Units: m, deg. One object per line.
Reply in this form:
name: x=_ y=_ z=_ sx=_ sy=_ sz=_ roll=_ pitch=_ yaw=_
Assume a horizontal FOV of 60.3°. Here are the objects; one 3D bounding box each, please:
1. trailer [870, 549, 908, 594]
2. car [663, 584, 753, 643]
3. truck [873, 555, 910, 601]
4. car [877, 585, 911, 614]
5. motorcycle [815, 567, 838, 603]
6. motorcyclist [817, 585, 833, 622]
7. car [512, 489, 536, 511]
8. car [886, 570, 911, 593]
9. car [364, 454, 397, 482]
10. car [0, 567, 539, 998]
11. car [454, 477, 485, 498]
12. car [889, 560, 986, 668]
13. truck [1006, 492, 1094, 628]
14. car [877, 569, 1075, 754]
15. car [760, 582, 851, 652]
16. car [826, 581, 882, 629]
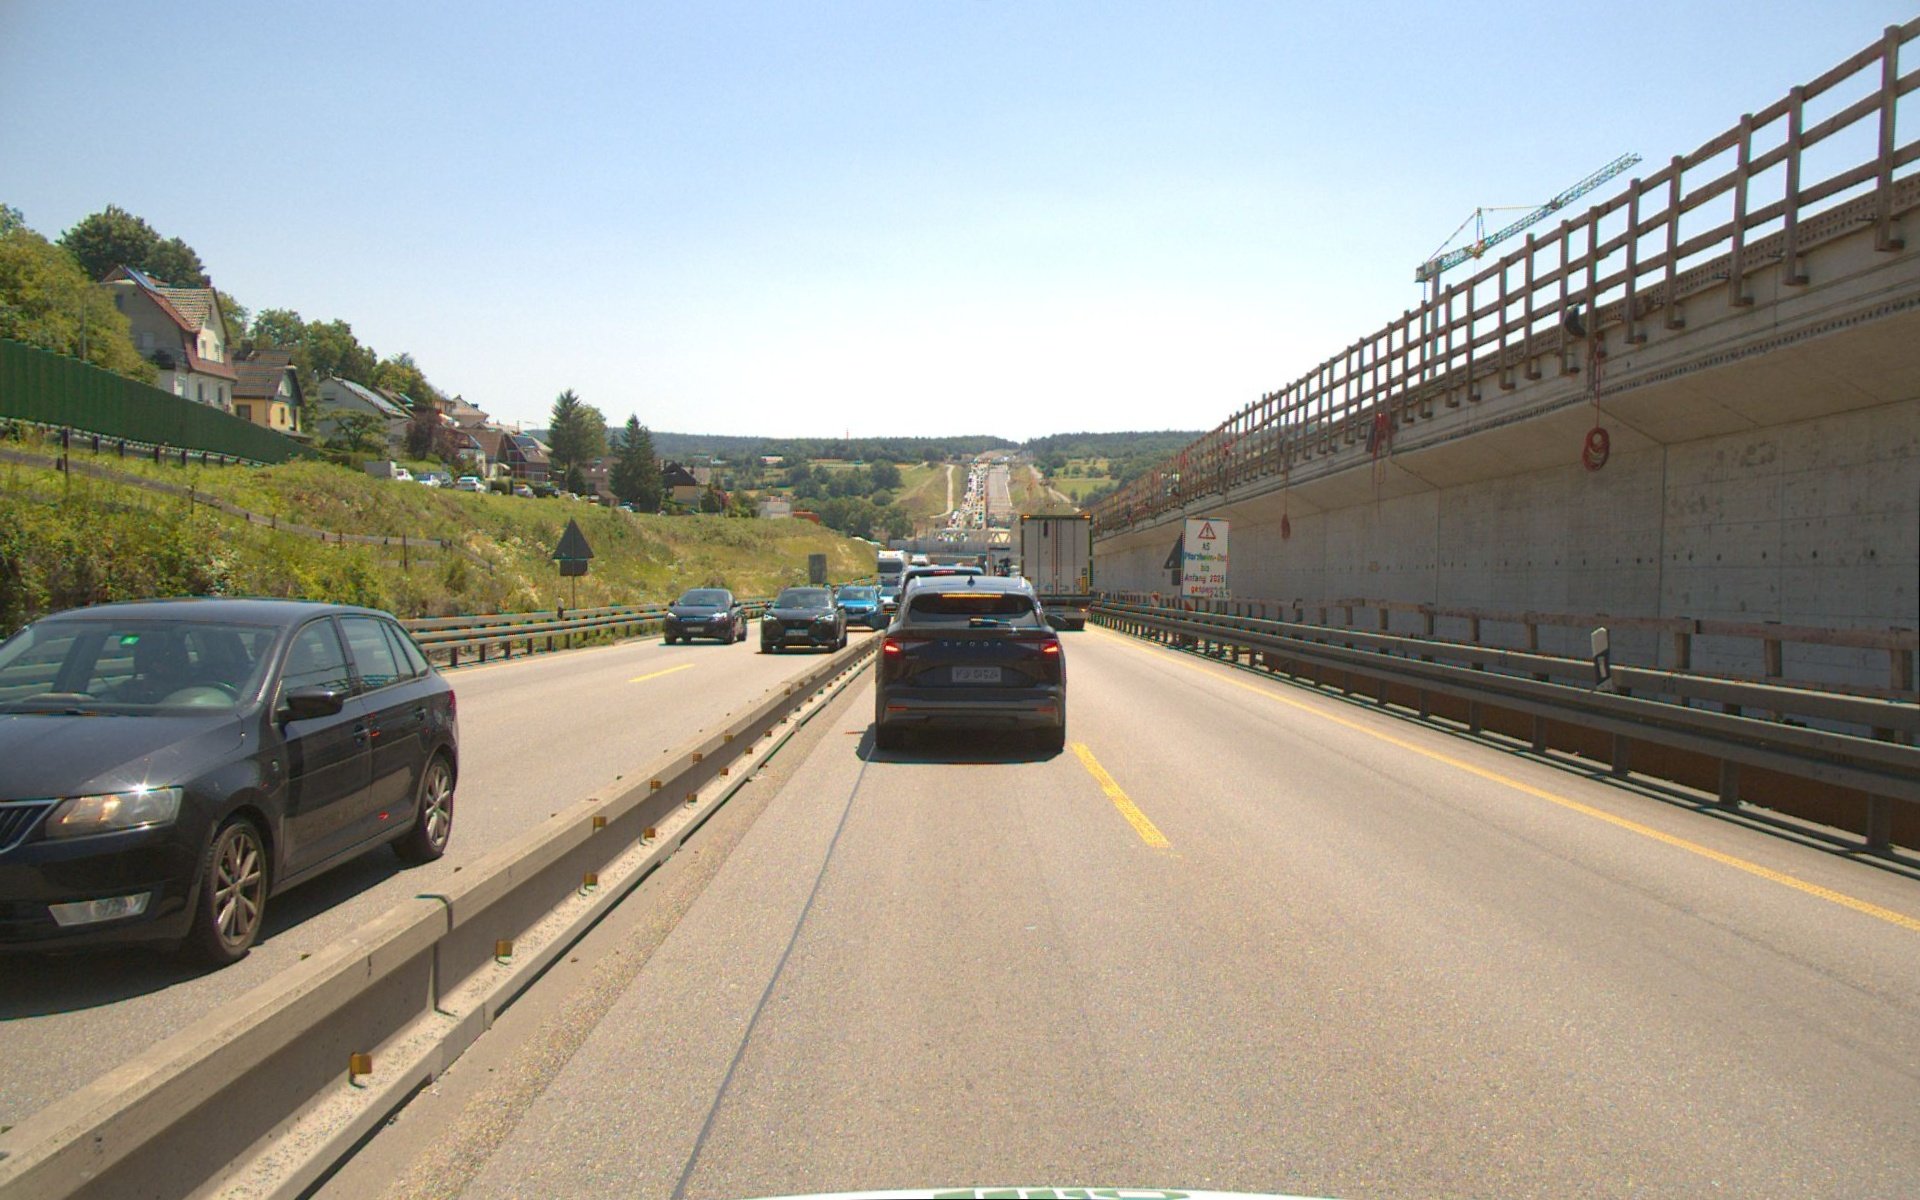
trailer: x=-7.124 y=-2.762 z=164.232 sx=3.158 sy=4.231 sz=13.393 roll=0 pitch=0 yaw=-5
car: x=-6.885 y=0.370 z=45.650 sx=1.777 sy=1.473 sz=5.005 roll=2 pitch=0 yaw=-1
truck: x=-6.580 y=-2.071 z=158.440 sx=3.119 sy=4.312 sz=6.477 roll=0 pitch=0 yaw=-6
car: x=-3.504 y=-0.040 z=88.030 sx=1.730 sy=1.512 sz=3.864 roll=0 pitch=0 yaw=-2
motorcycle: x=-5.924 y=-0.673 z=73.481 sx=0.774 sy=1.578 sz=2.621 roll=1 pitch=1 yaw=0
motorcyclist: x=-5.965 y=0.158 z=73.344 sx=0.652 sy=1.613 sz=0.736 roll=0 pitch=-1 yaw=0
car: x=-40.677 y=-9.306 z=154.317 sx=1.890 sy=1.758 sz=3.990 roll=0 pitch=0 yaw=-10
car: x=-4.199 y=-1.278 z=113.380 sx=1.657 sy=1.512 sz=3.749 roll=0 pitch=0 yaw=-2
car: x=-36.087 y=-8.208 z=103.085 sx=1.700 sy=1.422 sz=3.784 roll=2 pitch=0 yaw=-17
car: x=-3.540 y=0.684 z=8.074 sx=1.573 sy=1.472 sz=4.671 roll=-2 pitch=-1 yaw=2
car: x=-39.896 y=-9.161 z=134.577 sx=1.958 sy=1.342 sz=3.990 roll=4 pitch=0 yaw=-11
car: x=-0.493 y=0.259 z=32.502 sx=1.714 sy=1.928 sz=3.753 roll=2 pitch=0 yaw=-2
truck: x=3.312 y=-1.349 z=63.713 sx=2.787 sy=4.696 sz=11.811 roll=1 pitch=0 yaw=0
car: x=0.109 y=0.531 z=16.429 sx=1.746 sy=1.625 sz=3.754 roll=0 pitch=0 yaw=-1
car: x=-3.652 y=0.400 z=39.717 sx=1.805 sy=1.557 sz=4.293 roll=0 pitch=0 yaw=-1
car: x=-3.684 y=0.154 z=58.115 sx=1.728 sy=1.638 sz=3.892 roll=0 pitch=0 yaw=0
